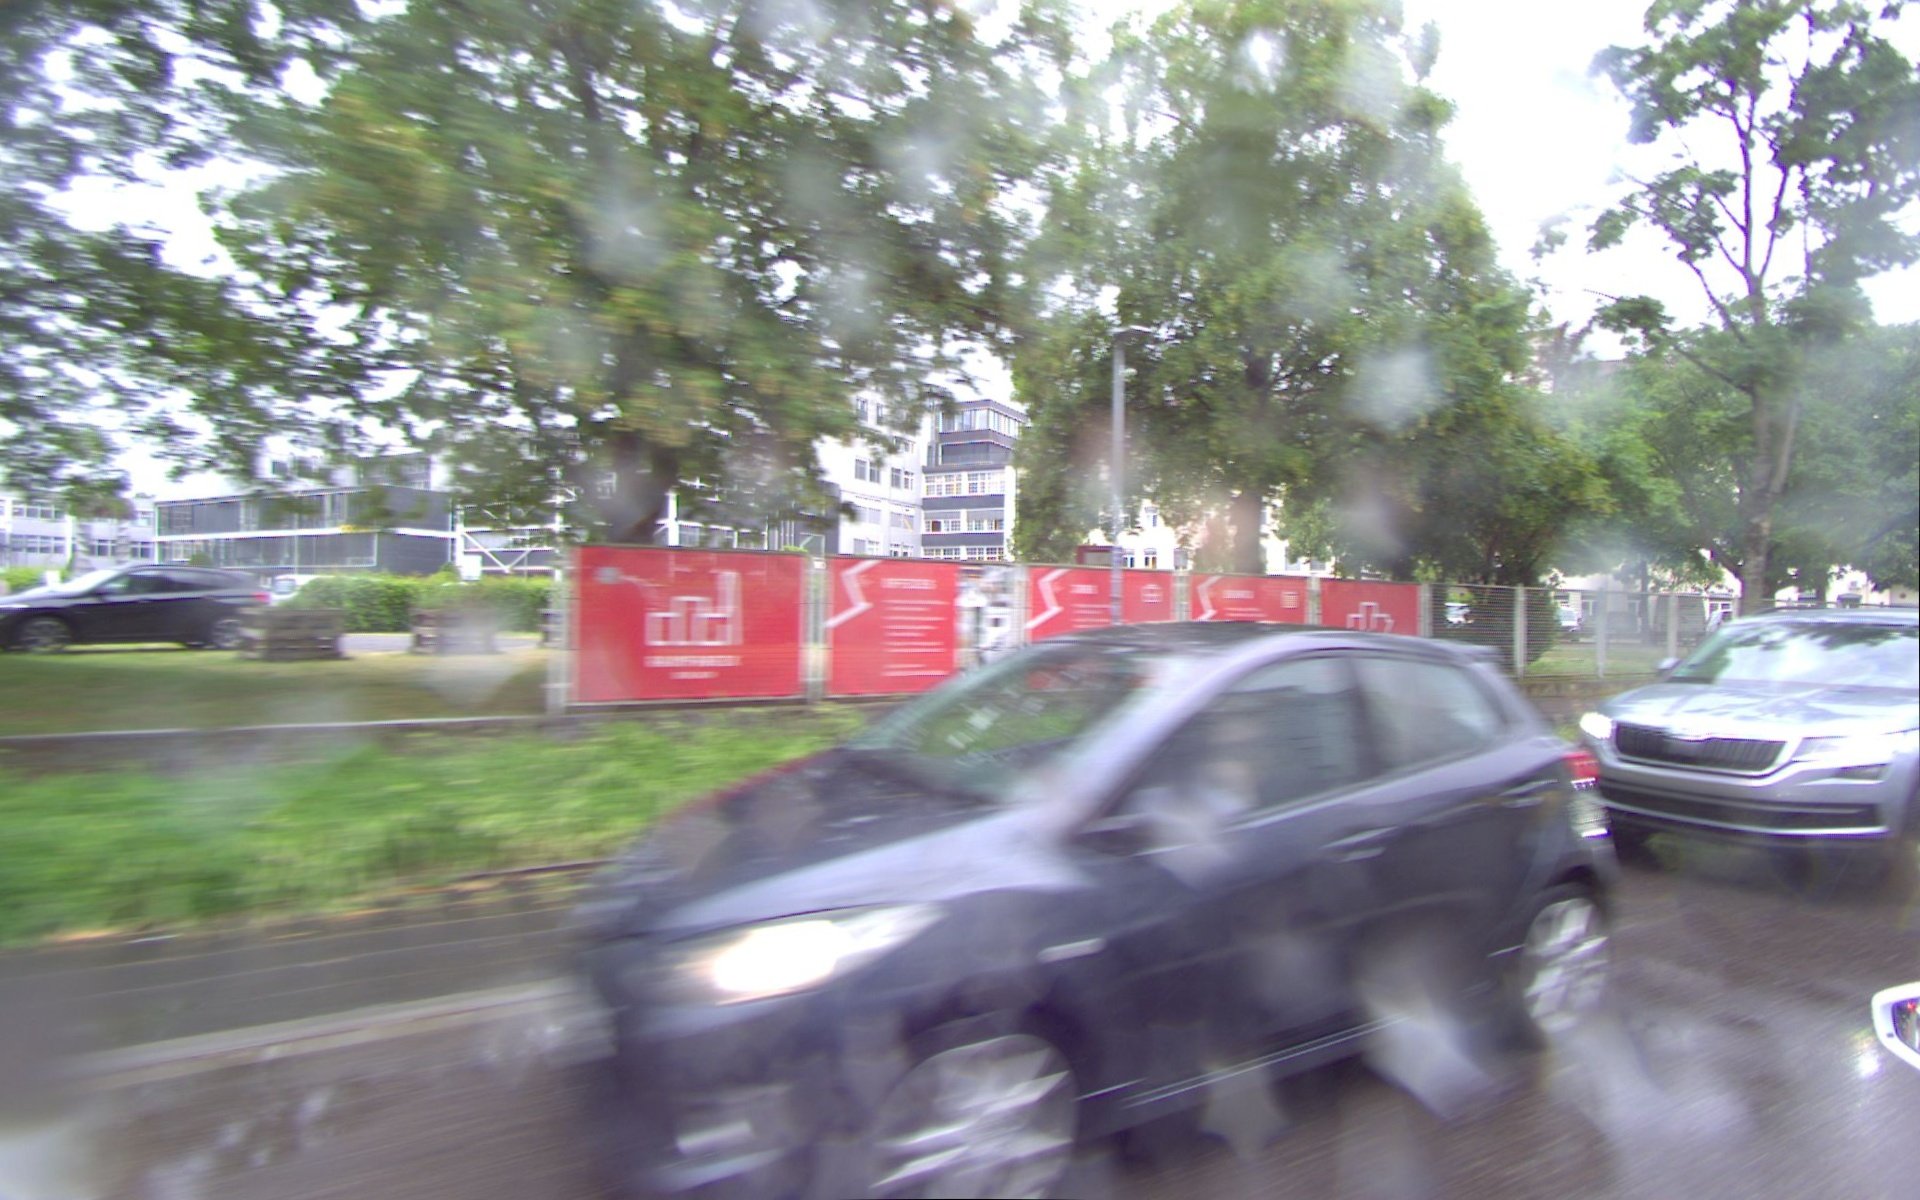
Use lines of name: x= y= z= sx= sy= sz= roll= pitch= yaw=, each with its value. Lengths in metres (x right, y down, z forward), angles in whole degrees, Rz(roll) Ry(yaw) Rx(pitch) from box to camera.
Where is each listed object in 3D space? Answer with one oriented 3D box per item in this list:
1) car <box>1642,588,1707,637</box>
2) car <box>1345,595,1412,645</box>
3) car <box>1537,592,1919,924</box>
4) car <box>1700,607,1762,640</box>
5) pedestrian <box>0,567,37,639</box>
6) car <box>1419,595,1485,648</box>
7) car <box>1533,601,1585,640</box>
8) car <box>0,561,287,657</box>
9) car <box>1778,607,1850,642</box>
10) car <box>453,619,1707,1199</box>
car: x=33.666 y=0.575 z=47.443 sx=1.963 sy=2.150 sz=3.994 roll=2 pitch=0 yaw=28
car: x=14.244 y=0.683 z=34.359 sx=1.961 sy=1.578 sz=4.000 roll=1 pitch=-1 yaw=21
car: x=6.412 y=0.845 z=7.034 sx=4.763 sy=1.661 sz=1.906 roll=2 pitch=0 yaw=-29
car: x=35.510 y=1.066 z=46.352 sx=1.679 sy=1.453 sz=3.644 roll=2 pitch=0 yaw=29
pedestrian: x=-25.166 y=0.076 z=26.218 sx=1.053 sy=1.864 sz=1.474 roll=1 pitch=0 yaw=41
car: x=16.321 y=0.724 z=33.485 sx=1.816 sy=1.593 sz=3.997 roll=2 pitch=-1 yaw=24
car: x=29.883 y=1.012 z=50.209 sx=1.899 sy=1.809 sz=3.995 roll=2 pitch=0 yaw=27
car: x=-15.170 y=0.153 z=18.310 sx=1.966 sy=1.547 sz=4.421 roll=1 pitch=0 yaw=34
car: x=38.256 y=1.064 z=45.081 sx=1.679 sy=1.453 sz=3.644 roll=2 pitch=0 yaw=29
car: x=0.610 y=0.797 z=3.554 sx=4.215 sy=1.439 sz=1.770 roll=1 pitch=-1 yaw=-30
